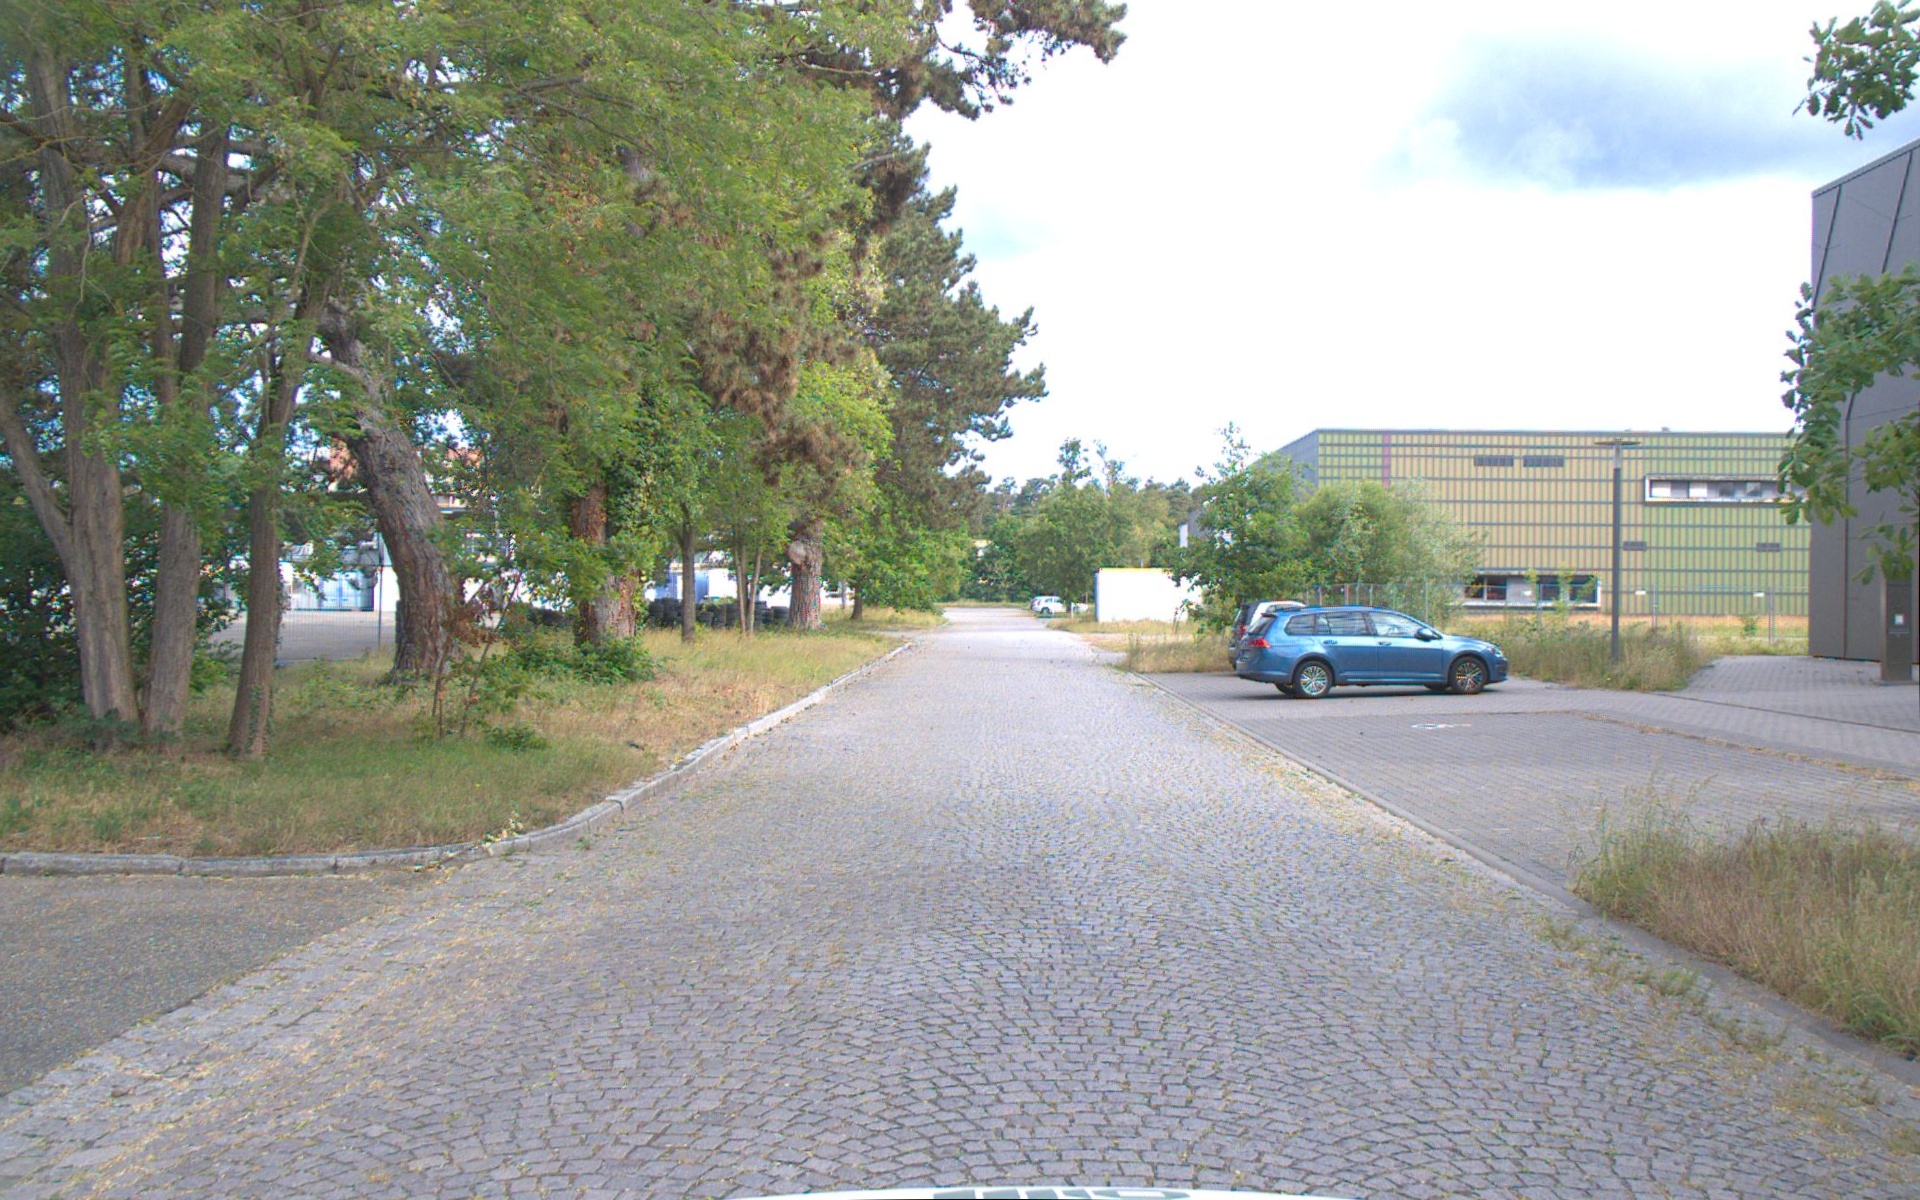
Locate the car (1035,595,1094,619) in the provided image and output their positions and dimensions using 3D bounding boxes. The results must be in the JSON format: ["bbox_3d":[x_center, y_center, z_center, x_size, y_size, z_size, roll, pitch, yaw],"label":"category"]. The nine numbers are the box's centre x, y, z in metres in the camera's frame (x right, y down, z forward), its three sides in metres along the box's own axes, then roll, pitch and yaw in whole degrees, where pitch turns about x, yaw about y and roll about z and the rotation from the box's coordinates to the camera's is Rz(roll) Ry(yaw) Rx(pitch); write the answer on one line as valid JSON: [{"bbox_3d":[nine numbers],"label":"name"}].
[{"bbox_3d":[7.667,0.497,121.569,4.265,1.717,1.925,0,0,0],"label":"car"}]

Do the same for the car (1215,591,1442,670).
[{"bbox_3d":[7.794,0.625,35.337,4.424,1.558,2.000,-1,0,1],"label":"car"}]

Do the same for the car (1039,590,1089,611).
[{"bbox_3d":[8.929,0.054,142.551,4.264,1.811,1.926,0,0,2],"label":"car"}]

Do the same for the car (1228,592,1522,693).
[{"bbox_3d":[6.942,0.679,27.990,4.427,1.558,1.999,-1,0,-2],"label":"car"}]
